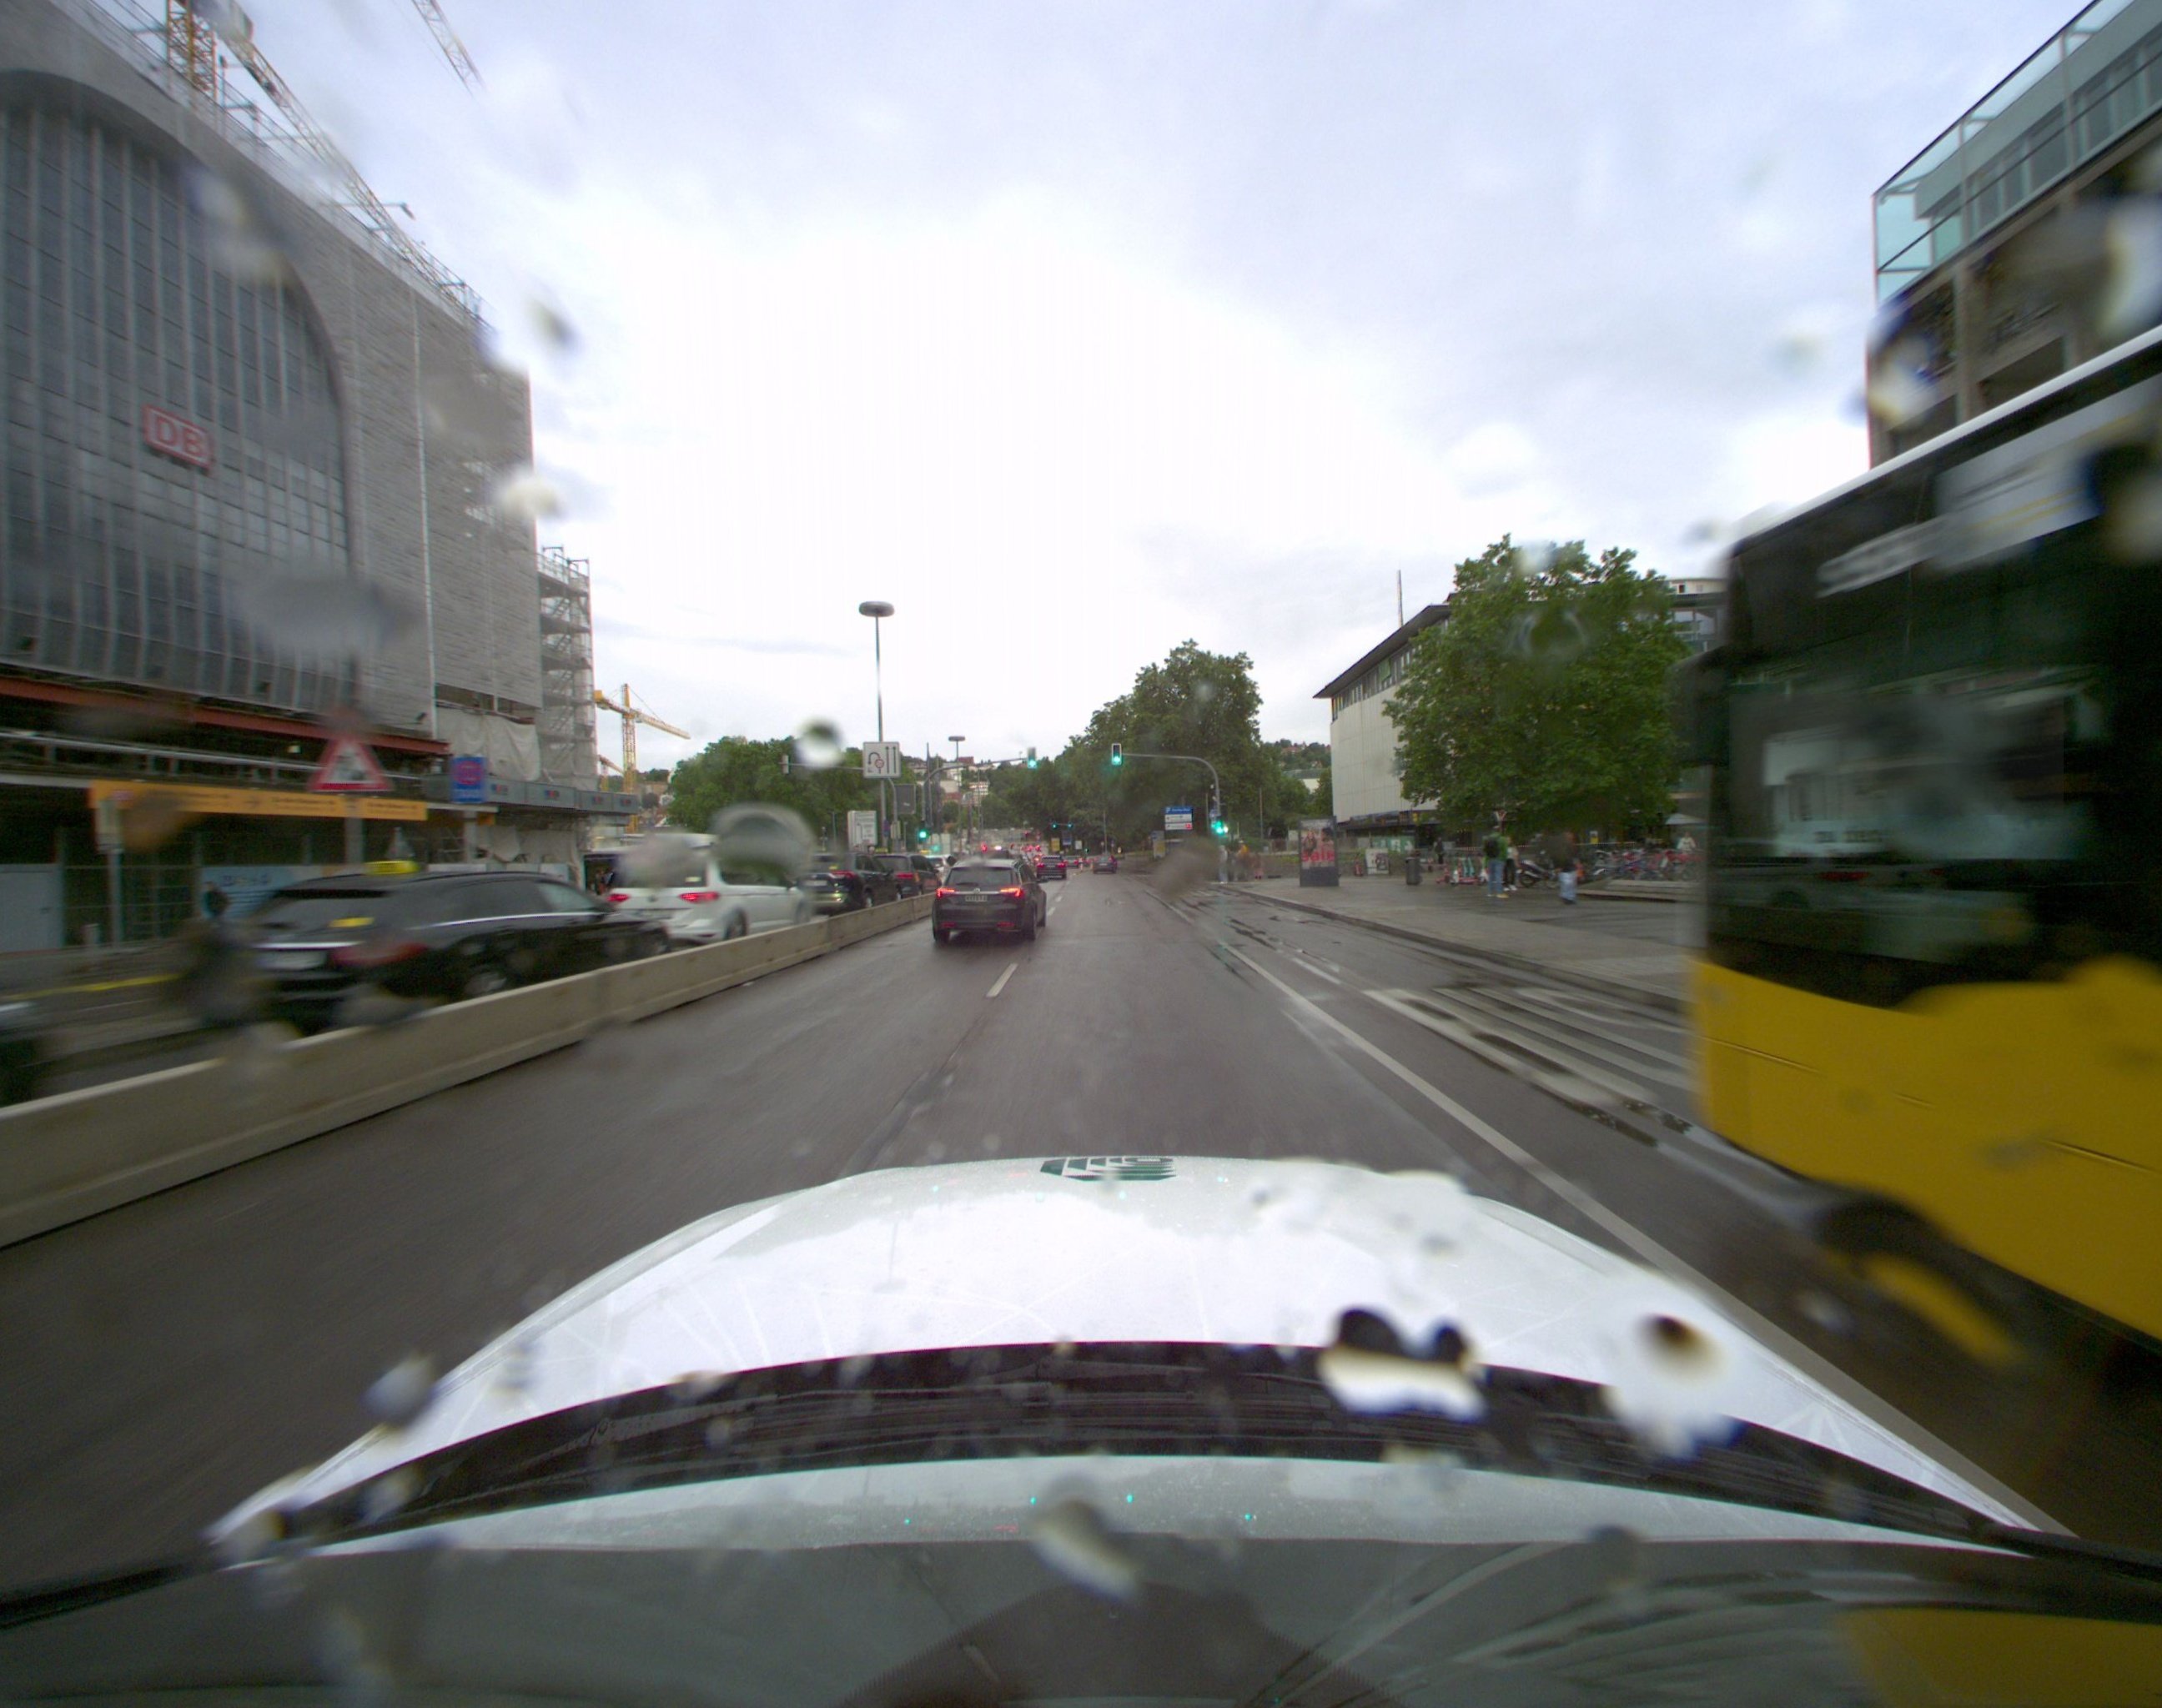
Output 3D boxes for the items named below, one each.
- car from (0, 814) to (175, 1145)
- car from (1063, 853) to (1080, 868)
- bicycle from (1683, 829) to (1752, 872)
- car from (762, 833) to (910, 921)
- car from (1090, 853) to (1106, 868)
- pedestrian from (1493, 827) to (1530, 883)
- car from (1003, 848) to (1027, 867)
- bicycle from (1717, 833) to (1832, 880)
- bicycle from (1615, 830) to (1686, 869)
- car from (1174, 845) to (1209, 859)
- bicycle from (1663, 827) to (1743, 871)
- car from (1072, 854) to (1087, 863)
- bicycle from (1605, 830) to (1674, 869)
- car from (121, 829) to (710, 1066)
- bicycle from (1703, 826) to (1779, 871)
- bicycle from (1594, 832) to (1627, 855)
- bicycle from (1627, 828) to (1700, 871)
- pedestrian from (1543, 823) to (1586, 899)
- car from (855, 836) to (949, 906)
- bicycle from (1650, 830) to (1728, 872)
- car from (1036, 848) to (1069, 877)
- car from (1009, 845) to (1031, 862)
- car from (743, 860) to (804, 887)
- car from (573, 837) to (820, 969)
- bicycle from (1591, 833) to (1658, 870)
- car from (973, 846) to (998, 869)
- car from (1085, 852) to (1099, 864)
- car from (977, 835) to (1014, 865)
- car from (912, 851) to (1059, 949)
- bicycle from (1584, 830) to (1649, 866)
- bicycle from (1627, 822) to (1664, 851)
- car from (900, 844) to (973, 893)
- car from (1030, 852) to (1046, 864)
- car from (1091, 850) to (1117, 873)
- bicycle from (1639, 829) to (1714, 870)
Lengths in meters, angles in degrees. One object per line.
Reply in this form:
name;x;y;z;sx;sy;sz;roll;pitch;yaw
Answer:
car;-6.438;0.672;2.506;1.987;1.654;4.642;-2;0;1
car;-1.075;0.721;95.651;1.898;1.717;3.999;-1;0;0
bicycle;19.923;-0.115;25.509;1.609;1.225;0.618;-4;0;3
car;-5.729;0.479;19.800;1.986;1.787;4.848;-2;0;1
car;1.832;0.698;87.585;1.668;1.581;3.240;-1;0;1
pedestrian;12.994;0.031;24.582;0.779;1.641;0.792;-2;0;16
car;-5.575;0.270;69.114;1.819;1.511;4.487;-1;0;-2
bicycle;19.902;0.070;23.373;2.878;1.109;0.876;-4;0;-11
bicycle;20.203;-0.169;28.899;1.981;1.237;0.618;-4;0;3
car;12.567;-0.174;92.669;3.573;1.506;1.745;-1;0;40
bicycle;19.961;-0.153;26.144;1.981;1.266;0.618;-4;0;3
car;-0.252;0.749;136.586;1.813;1.574;3.988;-1;0;-9
bicycle;20.237;-0.161;29.518;1.981;1.237;0.618;-4;0;3
car;-6.206;0.699;8.719;2.042;1.711;5.055;-2;0;1
bicycle;20.050;-0.172;24.741;1.991;1.237;0.615;-4;0;-12
bicycle;26.725;-0.515;41.128;0.612;1.102;2.030;-4;0;9
bicycle;20.193;-0.150;28.262;1.981;1.335;0.618;-4;0;3
pedestrian;10.511;0.155;17.730;0.646;1.619;0.503;-2;0;16
car;-5.412;0.467;25.256;1.707;1.892;4.612;-2;0;2
bicycle;20.066;-0.086;26.898;1.981;1.237;0.618;-4;0;3
car;-1.759;0.493;51.423;1.824;1.686;4.134;-2;0;0
car;-6.298;-0.054;84.357;1.989;1.567;4.872;-4;0;-2
car;-18.162;1.132;48.287;1.986;1.468;4.002;-1;0;2
car;-6.176;0.683;13.803;1.987;1.787;4.454;-2;0;0
bicycle;20.290;-0.099;30.415;1.981;1.237;0.618;-4;0;3
car;-9.077;0.333;77.675;1.989;2.013;5.363;-1;0;-3
car;1.450;0.592;111.646;1.631;1.624;3.791;-1;0;-3
car;-5.516;-0.256;53.108;1.988;1.845;5.058;-1;0;-2
car;-1.611;0.736;15.538;1.869;1.508;4.857;-2;0;4
bicycle;20.508;-0.224;31.188;1.981;1.237;0.618;-4;0;3
bicycle;30.890;-0.953;44.594;0.788;1.562;2.137;-2;0;9
car;-5.456;0.513;31.362;1.779;1.685;4.669;-2;0;2
car;-6.602;0.610;124.684;1.992;1.827;3.988;-1;0;-8
car;1.761;0.563;62.809;1.846;1.717;3.999;-1;0;0
bicycle;20.168;-0.141;27.608;1.981;1.237;0.618;-4;0;3
